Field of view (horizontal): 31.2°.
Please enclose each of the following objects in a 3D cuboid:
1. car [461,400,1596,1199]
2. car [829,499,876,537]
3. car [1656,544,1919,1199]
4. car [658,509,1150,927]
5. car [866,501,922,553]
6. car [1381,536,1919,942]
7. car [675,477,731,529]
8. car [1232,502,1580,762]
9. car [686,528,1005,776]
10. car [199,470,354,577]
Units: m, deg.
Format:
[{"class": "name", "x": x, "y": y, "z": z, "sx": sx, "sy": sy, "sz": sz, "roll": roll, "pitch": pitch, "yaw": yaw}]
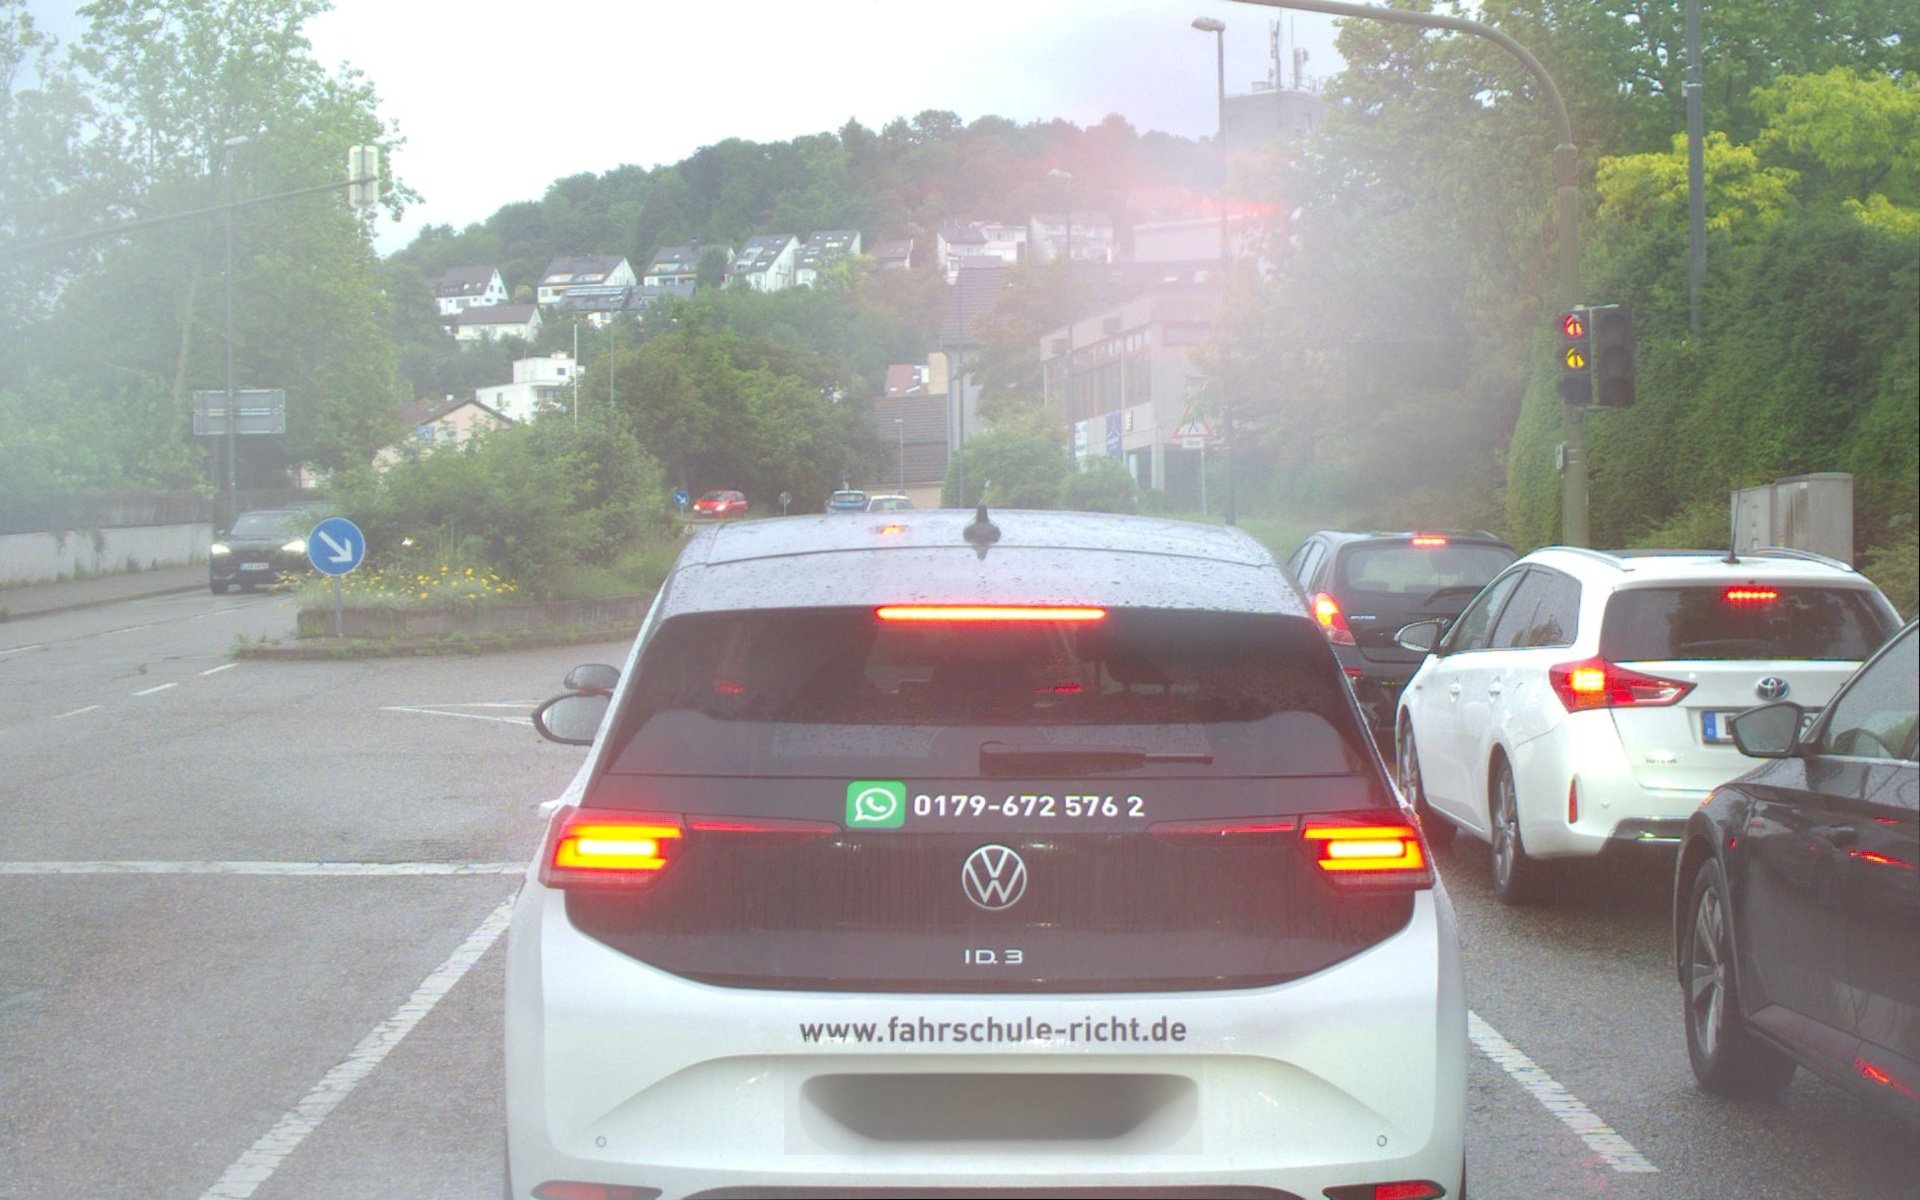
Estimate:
[{"class": "car", "x": 0.061, "y": 0.448, "z": 7.960, "sx": 1.837, "sy": 1.623, "sz": 4.616, "roll": 1, "pitch": 1, "yaw": -1}, {"class": "car", "x": -4.263, "y": -3.254, "z": 136.261, "sx": 1.761, "sy": 1.413, "sz": 3.749, "roll": -1, "pitch": 2, "yaw": -3}, {"class": "car", "x": 2.866, "y": 0.647, "z": 7.490, "sx": 1.838, "sy": 1.461, "sz": 4.350, "roll": 1, "pitch": 1, "yaw": 1}, {"class": "car", "x": -0.256, "y": 0.399, "z": 15.154, "sx": 1.837, "sy": 1.549, "sz": 4.175, "roll": 1, "pitch": 1, "yaw": -1}, {"class": "car", "x": -1.970, "y": -2.130, "z": 101.276, "sx": 1.581, "sy": 1.462, "sz": 4.000, "roll": -1, "pitch": 1, "yaw": -1}, {"class": "car", "x": 3.055, "y": 0.487, "z": 14.891, "sx": 1.837, "sy": 1.461, "sz": 4.117, "roll": 1, "pitch": 1, "yaw": -1}, {"class": "car", "x": -10.454, "y": -3.935, "z": 140.108, "sx": 1.993, "sy": 2.007, "sz": 4.000, "roll": 1, "pitch": 0, "yaw": 0}, {"class": "car", "x": 2.922, "y": 0.174, "z": 23.308, "sx": 1.775, "sy": 1.576, "sz": 4.000, "roll": 1, "pitch": 1, "yaw": 0}, {"class": "car", "x": -0.713, "y": 0.266, "z": 22.045, "sx": 1.837, "sy": 1.395, "sz": 3.831, "roll": 1, "pitch": 1, "yaw": -1}, {"class": "car", "x": -12.482, "y": -1.397, "z": 63.022, "sx": 1.993, "sy": 1.798, "sz": 4.000, "roll": -3, "pitch": 1, "yaw": 0}]
